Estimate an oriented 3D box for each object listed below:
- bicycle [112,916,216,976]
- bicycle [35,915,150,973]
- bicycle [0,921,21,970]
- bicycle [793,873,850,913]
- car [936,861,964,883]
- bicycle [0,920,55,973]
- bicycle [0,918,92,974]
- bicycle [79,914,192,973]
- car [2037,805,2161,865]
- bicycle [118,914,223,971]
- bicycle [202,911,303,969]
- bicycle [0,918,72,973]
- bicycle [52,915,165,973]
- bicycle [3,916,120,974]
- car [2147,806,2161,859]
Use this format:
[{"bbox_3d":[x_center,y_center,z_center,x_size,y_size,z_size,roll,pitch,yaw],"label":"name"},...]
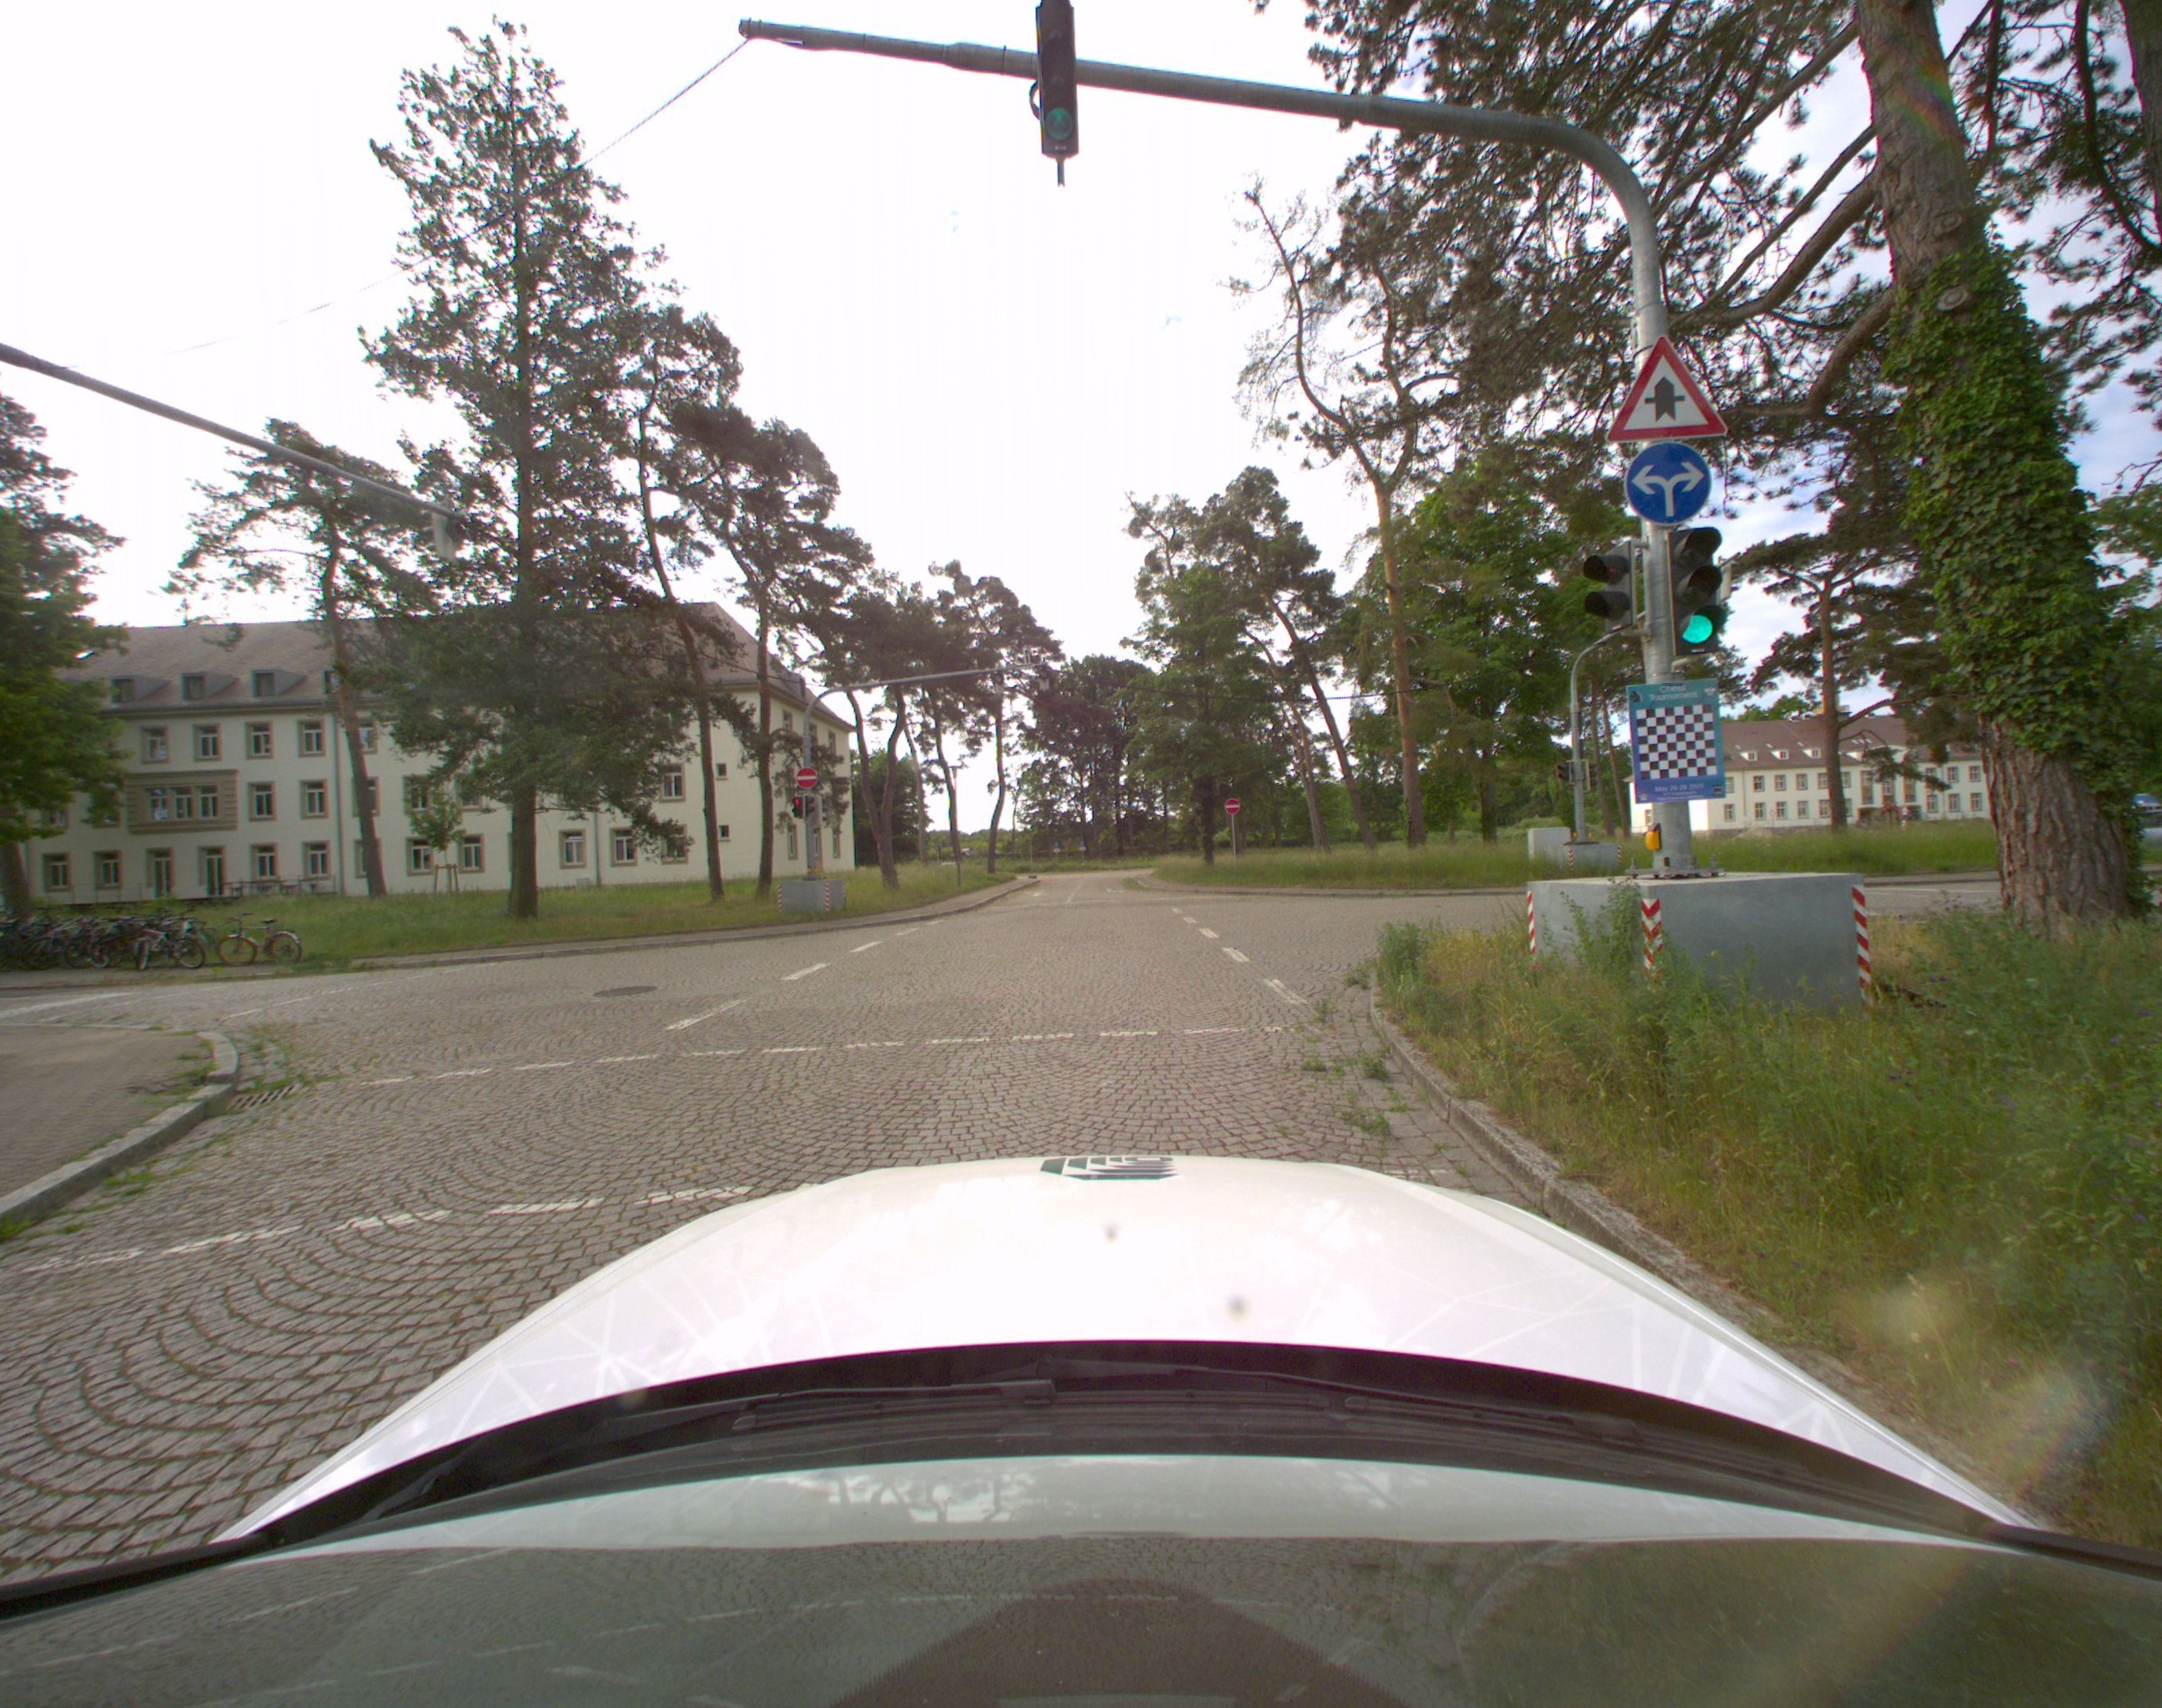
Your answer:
[{"bbox_3d":[-18.619,1.857,16.549,1.460,1.079,0.516,-3,0,-1],"label":"bicycle"},{"bbox_3d":[-21.746,1.954,17.963,0.512,1.079,1.586,-3,0,2],"label":"bicycle"},{"bbox_3d":[-24.630,2.092,17.900,0.512,1.079,1.586,-3,0,2],"label":"bicycle"},{"bbox_3d":[-7.755,1.154,24.341,1.460,1.065,0.516,-3,1,-1],"label":"bicycle"},{"bbox_3d":[-11.964,1.628,74.480,1.988,1.846,3.998,-1,0,-1],"label":"car"},{"bbox_3d":[-23.835,2.060,17.895,0.512,1.079,1.586,-3,0,2],"label":"bicycle"},{"bbox_3d":[-22.999,2.011,17.904,0.512,1.079,1.586,-3,0,2],"label":"bicycle"},{"bbox_3d":[-20.684,1.933,17.859,0.512,1.079,1.587,-3,0,4],"label":"bicycle"},{"bbox_3d":[28.507,-0.524,21.470,1.727,1.509,4.246,-2,0,3],"label":"car"},{"bbox_3d":[-20.005,1.921,17.942,0.513,1.079,1.584,-3,0,-1],"label":"bicycle"},{"bbox_3d":[-16.983,1.751,16.705,1.460,1.065,0.516,-3,0,-1],"label":"bicycle"},{"bbox_3d":[-23.451,2.023,17.900,0.512,1.079,1.586,-3,0,2],"label":"bicycle"},{"bbox_3d":[-21.386,1.947,17.956,0.512,1.079,1.586,-3,0,2],"label":"bicycle"},{"bbox_3d":[-22.377,1.977,17.921,0.512,1.079,1.586,-3,0,2],"label":"bicycle"},{"bbox_3d":[31.118,-0.627,21.019,1.727,1.468,4.246,-2,0,3],"label":"car"}]
